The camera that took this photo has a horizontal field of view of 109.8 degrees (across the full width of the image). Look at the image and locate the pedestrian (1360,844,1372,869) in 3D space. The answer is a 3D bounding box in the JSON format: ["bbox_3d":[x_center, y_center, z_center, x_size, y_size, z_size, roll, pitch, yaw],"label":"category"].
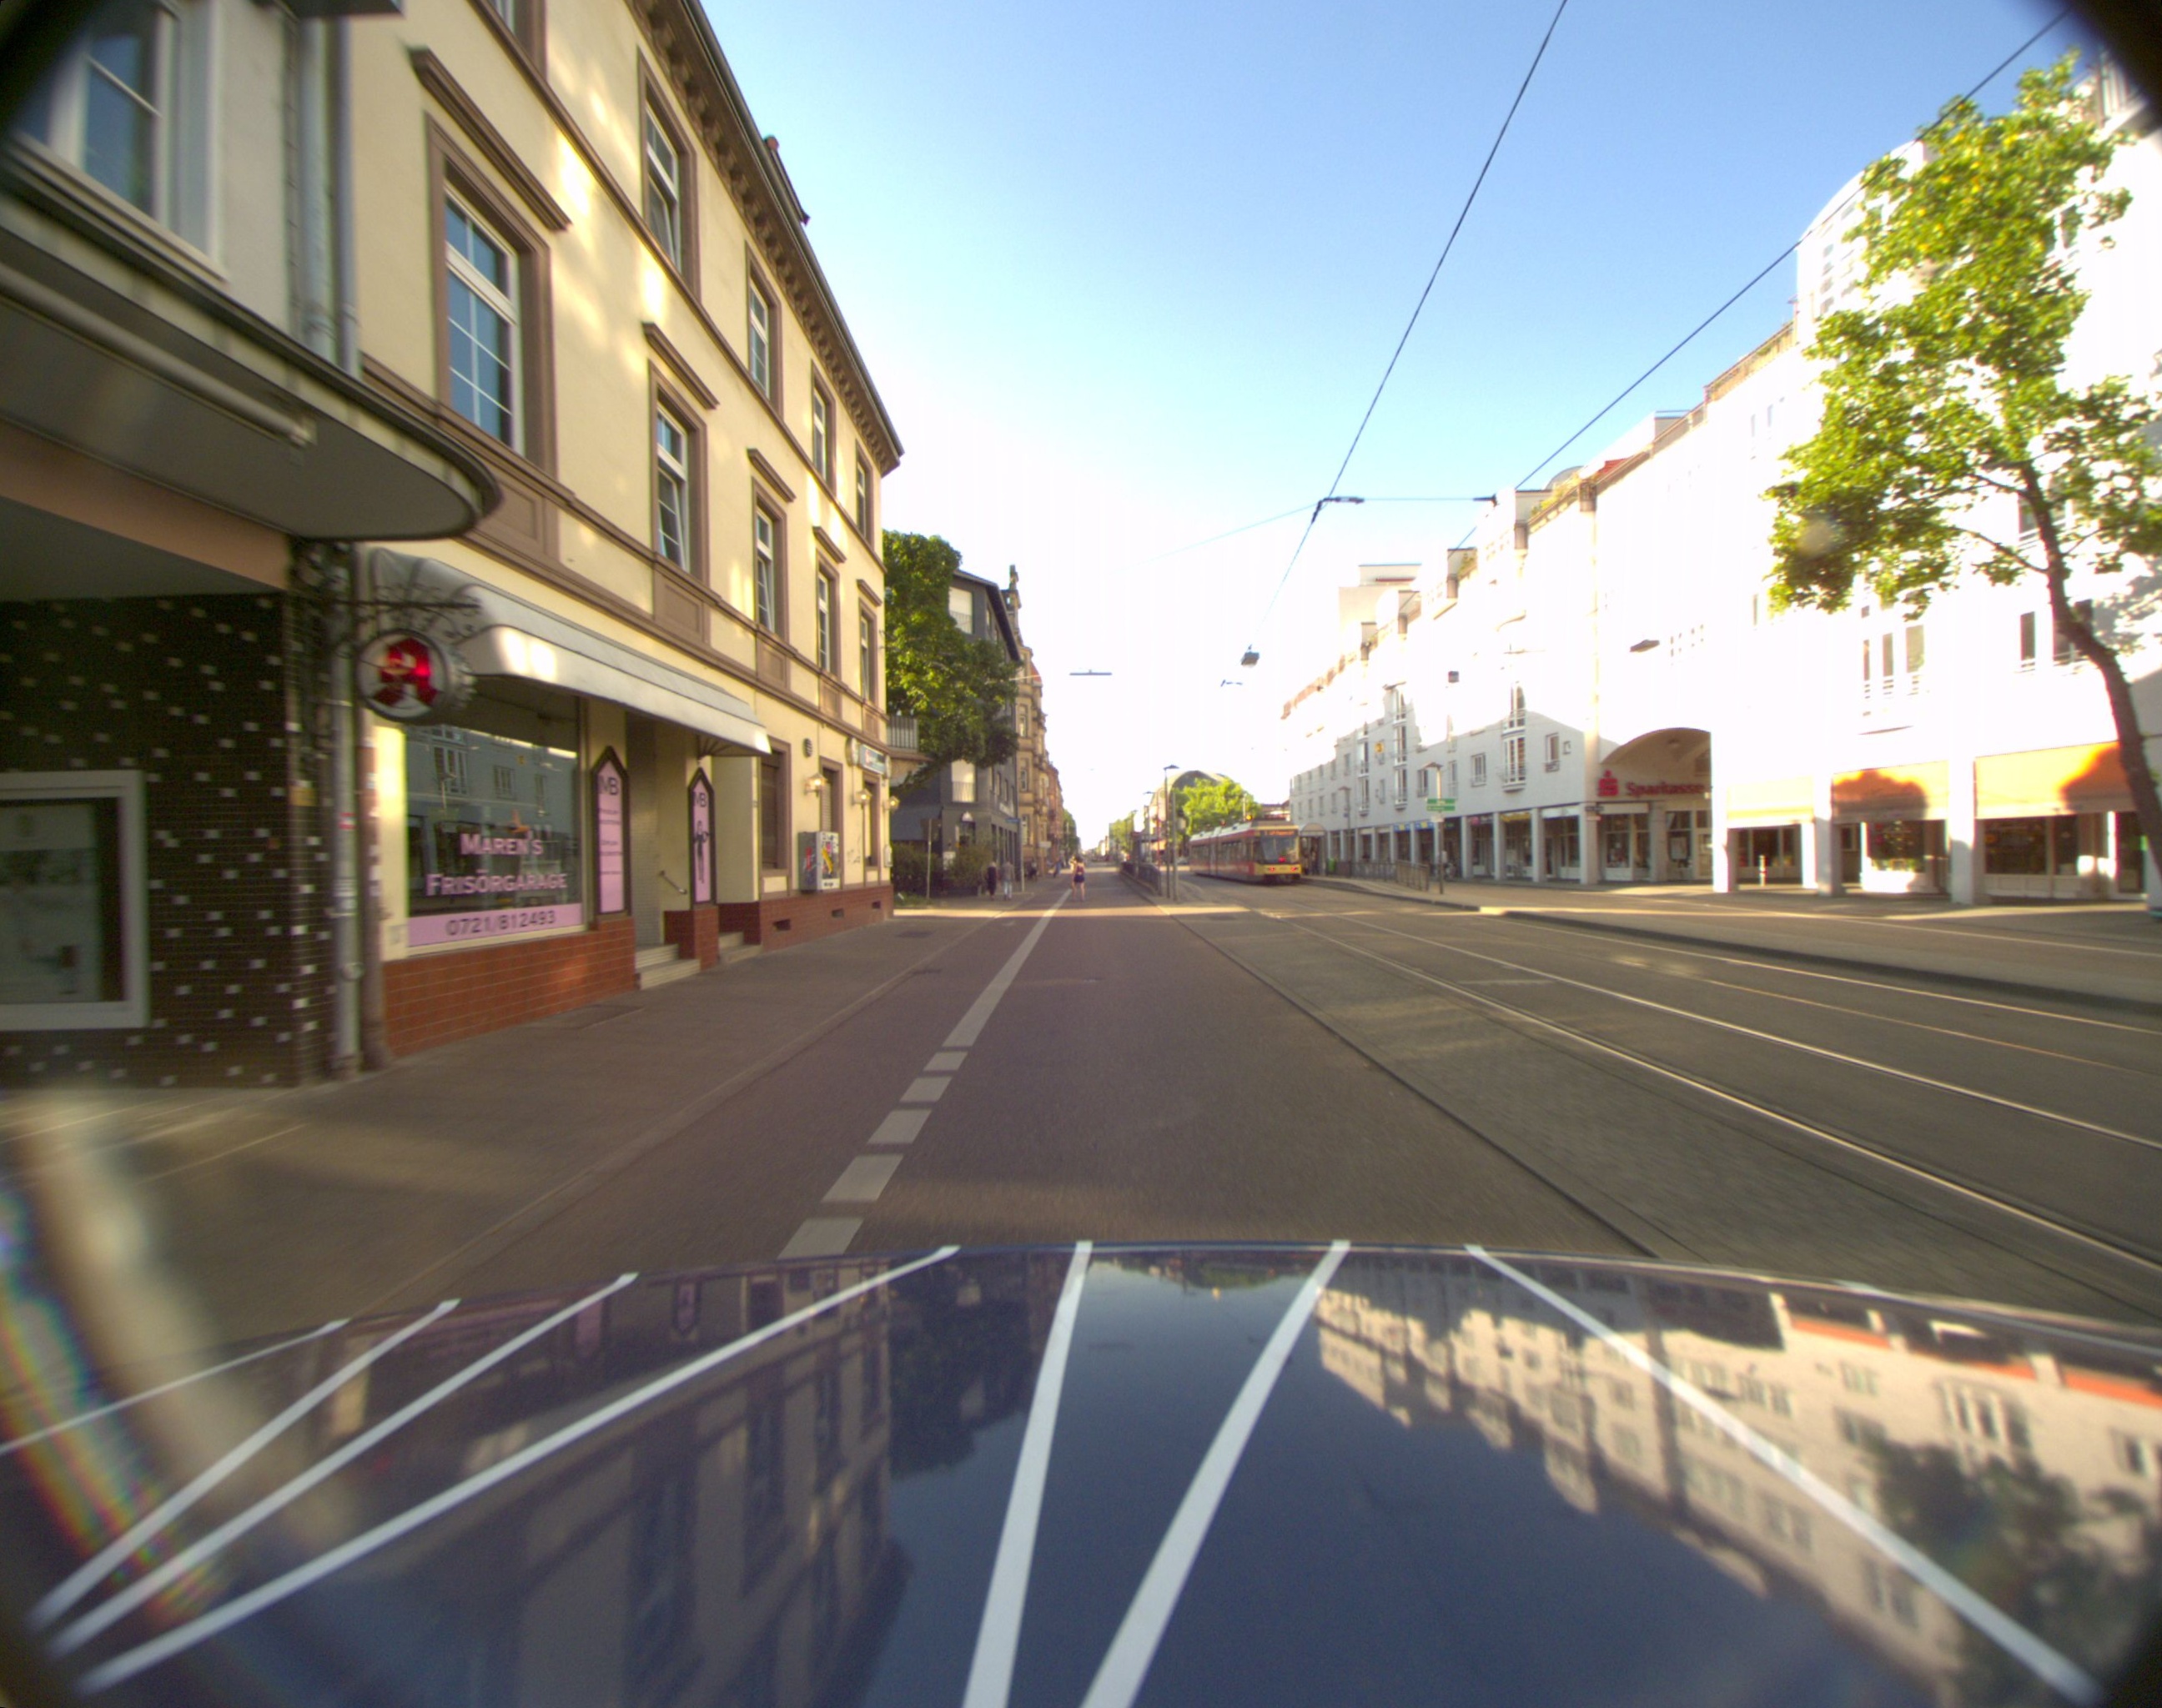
[{"bbox_3d":[19.403,0.170,51.785,0.533,1.706,0.706,-1,0,2],"label":"pedestrian"}]

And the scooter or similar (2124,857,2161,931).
[{"bbox_3d":[19.190,0.703,13.290,0.378,1.271,1.181,-4,0,13],"label":"scooter or similar"}]

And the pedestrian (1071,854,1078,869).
[{"bbox_3d":[-0.709,0.867,88.116,0.694,1.760,0.697,-1,1,6],"label":"pedestrian"}]

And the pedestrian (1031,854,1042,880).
[{"bbox_3d":[-3.029,0.863,51.652,0.650,1.760,0.697,-1,1,6],"label":"pedestrian"}]

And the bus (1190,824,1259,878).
[{"bbox_3d":[10.416,-0.203,56.894,2.818,3.546,13.679,-1,0,1],"label":"bus"}]

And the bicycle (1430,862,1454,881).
[{"bbox_3d":[19.850,0.933,41.809,0.518,0.983,1.727,-3,0,2],"label":"bicycle"}]

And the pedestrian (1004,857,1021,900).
[{"bbox_3d":[-2.763,0.989,30.648,0.651,1.706,0.805,-1,0,-6],"label":"pedestrian"}]

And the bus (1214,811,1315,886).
[{"bbox_3d":[10.031,-0.278,43.412,2.818,3.546,13.680,-1,0,2],"label":"bus"}]

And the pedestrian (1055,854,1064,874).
[{"bbox_3d":[-1.939,0.925,67.580,0.694,1.760,0.697,-1,1,6],"label":"pedestrian"}]

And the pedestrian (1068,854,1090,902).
[{"bbox_3d":[-0.068,0.909,28.977,0.807,1.789,0.761,-1,0,1],"label":"pedestrian"}]

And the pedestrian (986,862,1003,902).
[{"bbox_3d":[-3.469,1.132,30.615,0.651,1.569,0.682,-1,0,-6],"label":"pedestrian"}]

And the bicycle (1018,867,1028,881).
[{"bbox_3d":[-3.855,1.310,50.337,0.389,0.907,1.851,-3,0,2],"label":"bicycle"}]

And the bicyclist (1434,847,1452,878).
[{"bbox_3d":[19.826,0.457,41.607,0.514,1.690,0.807,-3,1,2],"label":"bicyclist"}]
